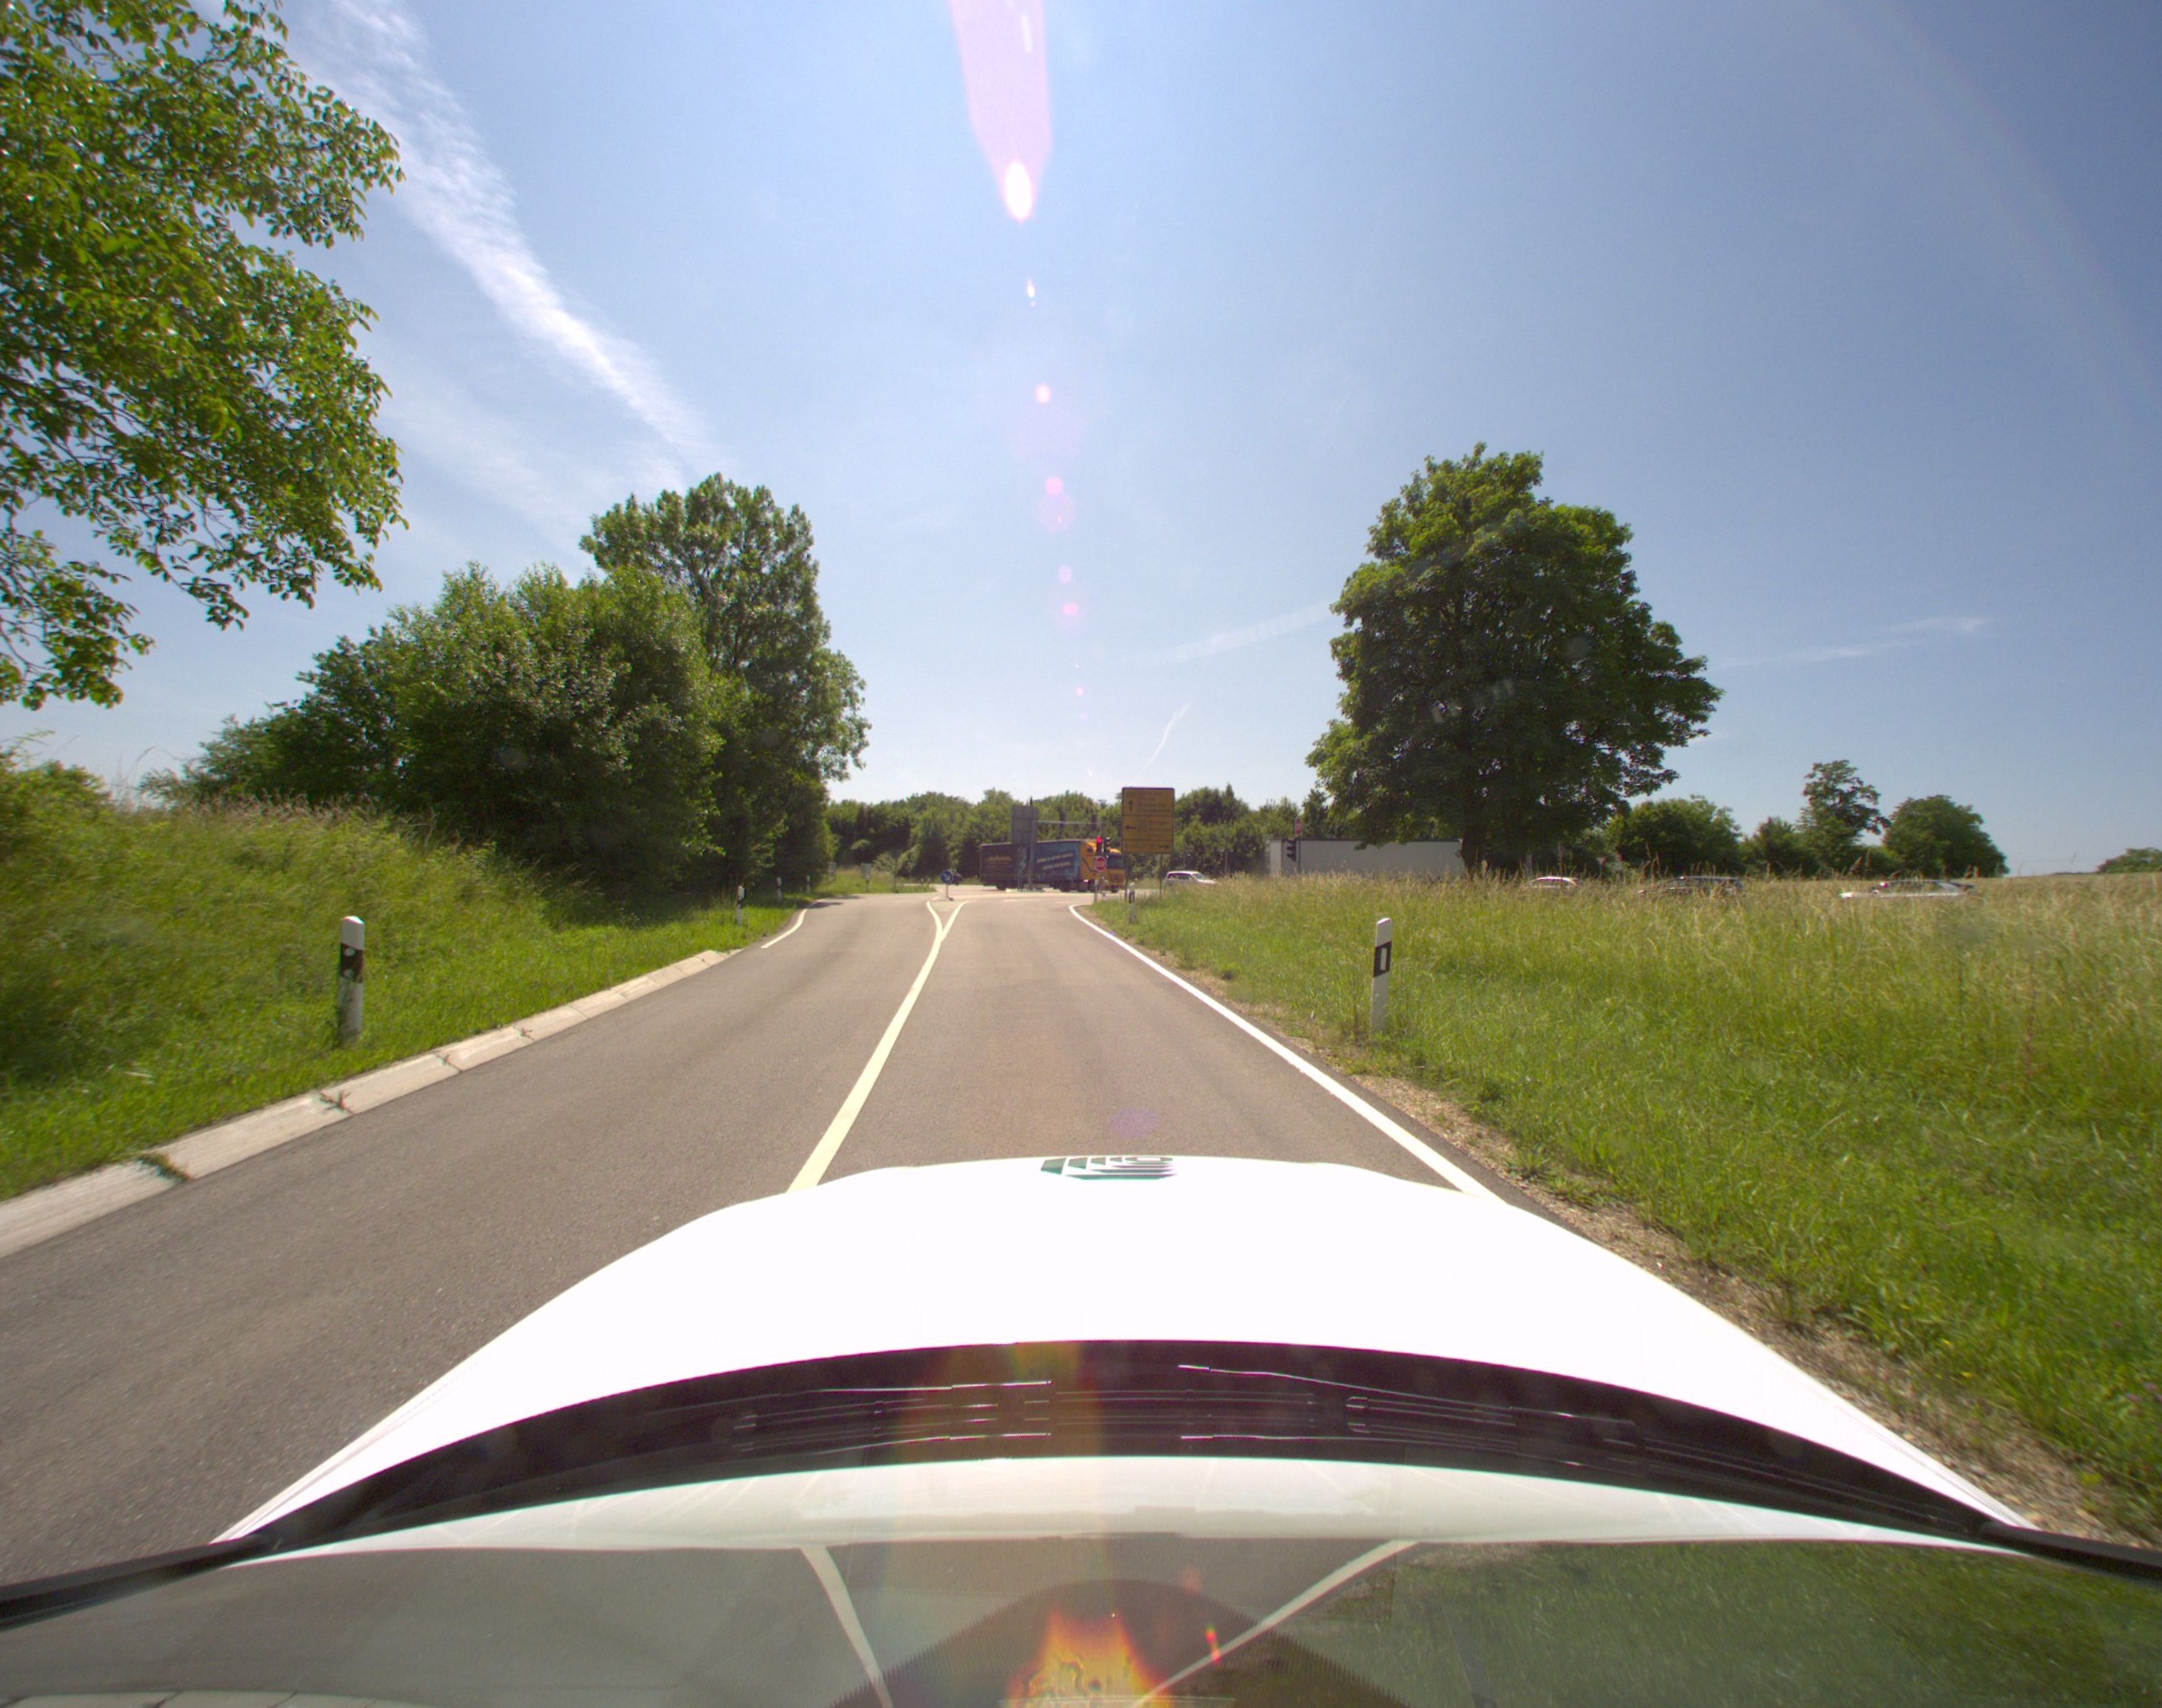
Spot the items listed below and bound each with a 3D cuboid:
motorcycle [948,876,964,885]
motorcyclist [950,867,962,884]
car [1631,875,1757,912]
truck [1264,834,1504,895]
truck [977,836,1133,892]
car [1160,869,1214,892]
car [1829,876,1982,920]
[{"bbox_3d":[-13.853,2.950,90.216,1.848,0.963,0.735,-3,-2,40],"label":"motorcycle"},{"bbox_3d":[-13.859,2.401,90.172,0.887,1.843,0.845,-3,-2,39],"label":"motorcyclist"},{"bbox_3d":[28.468,1.786,37.960,1.735,1.553,4.339,0,-1,-31],"label":"car"},{"bbox_3d":[21.759,0.731,58.783,16.608,4.173,3.129,0,-2,-6],"label":"truck"},{"bbox_3d":[-2.682,0.858,67.603,2.867,4.132,16.608,2,-2,-42],"label":"truck"},{"bbox_3d":[7.831,1.986,60.457,3.643,1.575,1.736,-3,-1,44],"label":"car"},{"bbox_3d":[32.627,1.688,32.339,1.660,1.553,3.981,0,-1,-31],"label":"car"}]
